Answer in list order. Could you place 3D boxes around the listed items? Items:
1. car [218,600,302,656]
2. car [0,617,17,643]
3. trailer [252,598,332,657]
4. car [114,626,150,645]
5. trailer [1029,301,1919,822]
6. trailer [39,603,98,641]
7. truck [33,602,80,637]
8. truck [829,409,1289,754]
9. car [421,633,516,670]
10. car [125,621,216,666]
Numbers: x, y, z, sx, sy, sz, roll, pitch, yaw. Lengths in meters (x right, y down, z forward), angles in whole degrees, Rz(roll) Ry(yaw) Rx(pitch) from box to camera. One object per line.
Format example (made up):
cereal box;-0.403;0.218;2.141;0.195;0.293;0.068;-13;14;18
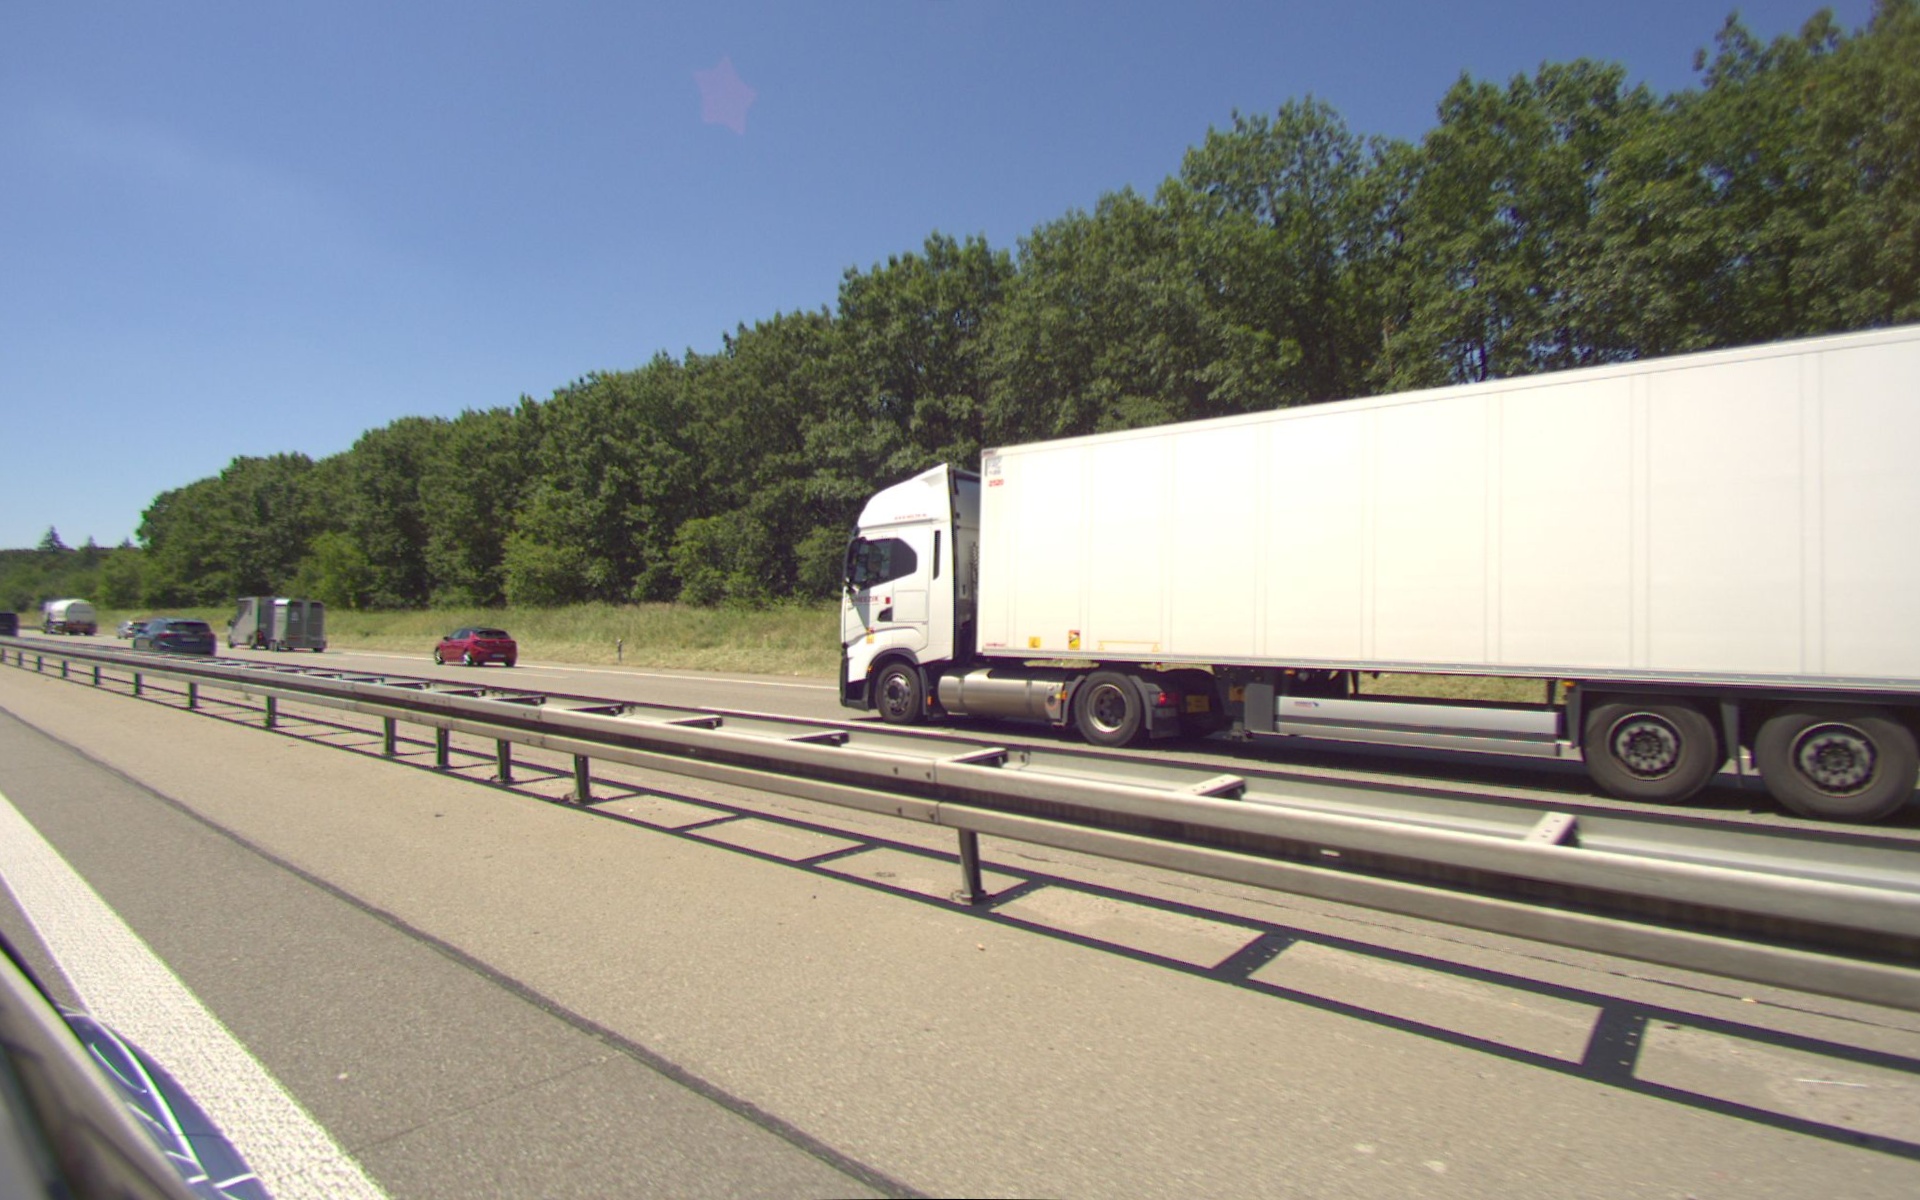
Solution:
car;-38.746;1.556;55.931;6.450;2.880;2.190;-1;-4;41
car;-70.527;2.178;73.808;5.831;1.862;1.856;-1;-4;41
trailer;-34.555;1.450;52.315;4.582;2.880;2.190;-1;-4;41
car;-67.216;2.853;82.147;4.033;1.476;1.553;-1;-4;40
trailer;6.748;-0.218;10.068;13.123;4.020;2.641;-1;-4;41
trailer;-87.068;2.205;98.745;11.794;3.460;2.654;-1;-4;41
truck;-92.207;2.007;103.254;6.141;3.460;2.654;-1;-4;41
truck;1.233;-0.119;14.862;6.337;4.021;2.641;-1;-4;41
car;-18.125;1.882;37.269;4.130;1.286;1.622;-1;-4;41
car;-27.762;1.509;35.539;4.622;1.493;1.600;-1;-4;41
